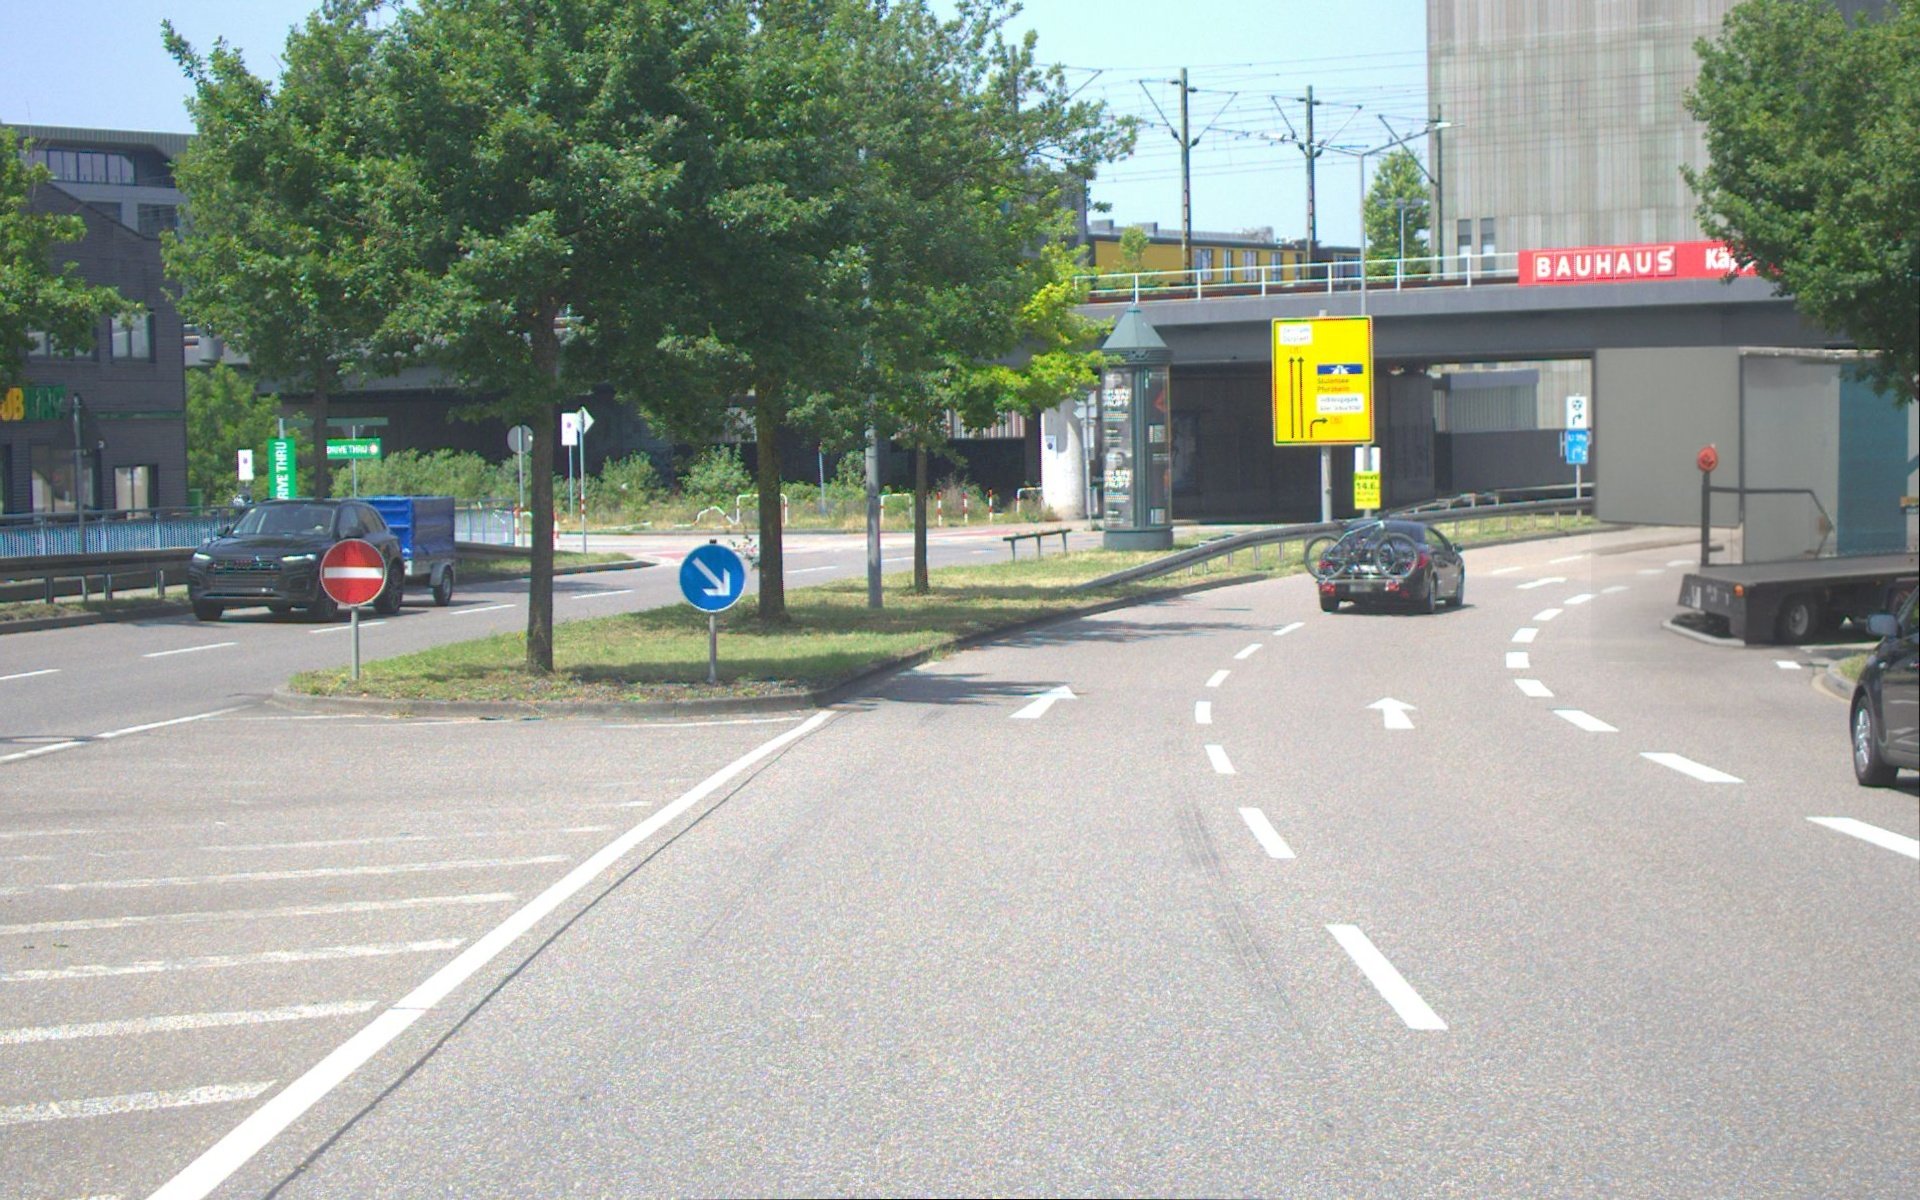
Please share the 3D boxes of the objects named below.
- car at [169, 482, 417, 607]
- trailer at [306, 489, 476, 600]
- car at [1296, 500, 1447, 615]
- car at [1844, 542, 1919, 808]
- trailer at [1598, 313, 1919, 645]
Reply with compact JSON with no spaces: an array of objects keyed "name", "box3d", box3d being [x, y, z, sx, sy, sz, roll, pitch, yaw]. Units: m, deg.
[{"name":"car","box3d":[-9.172,-0.773,47.672,1.915,1.646,4.406,0,1,10]},{"name":"trailer","box3d":[-8.486,-0.827,51.476,1.505,1.610,3.307,0,1,10]},{"name":"car","box3d":[6.481,-0.706,53.816,1.958,1.628,4.278,1,3,12]},{"name":"car","box3d":[6.681,0.453,20.886,1.767,1.593,4.077,0,1,3]},{"name":"trailer","box3d":[15.310,-1.715,51.345,14.733,4.353,3.087,0,4,-43]}]
